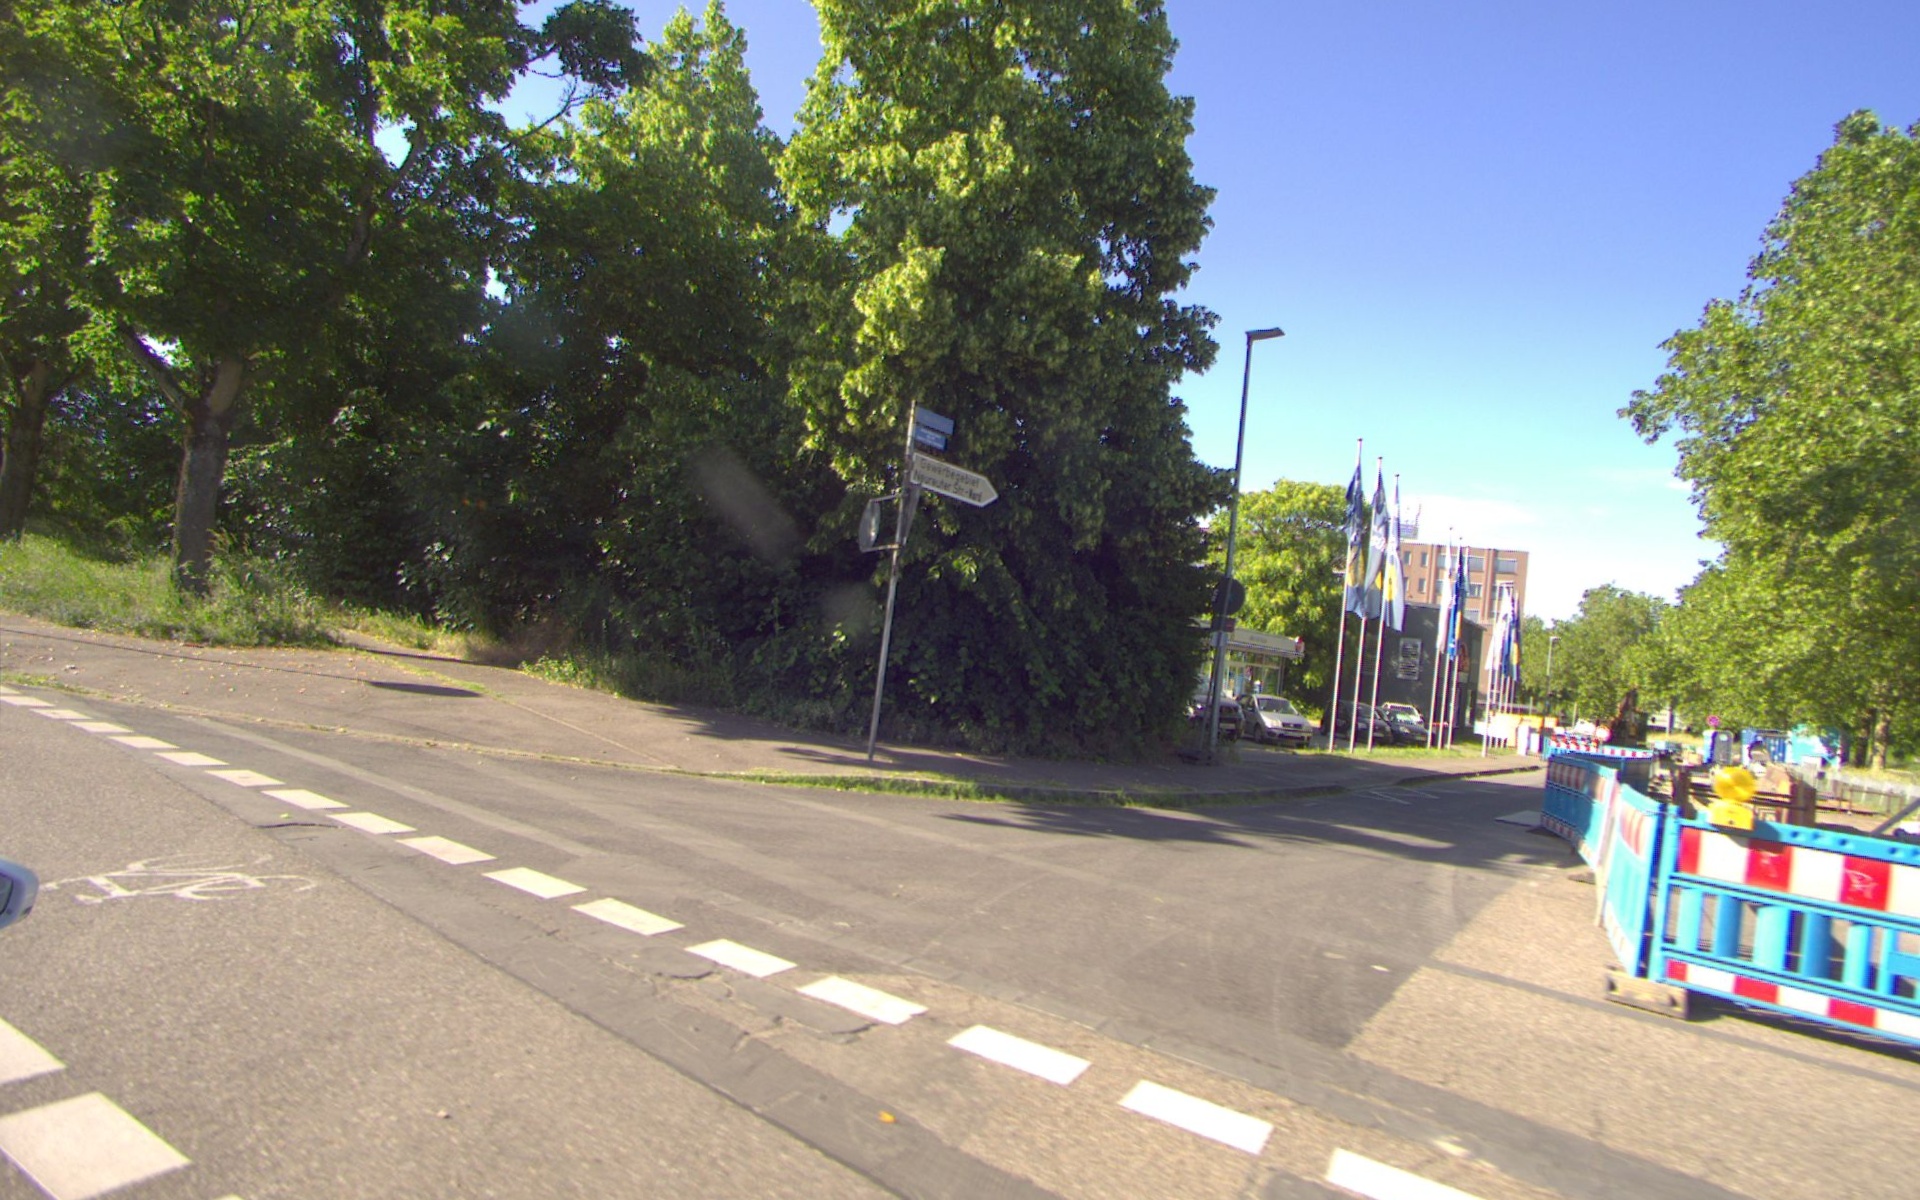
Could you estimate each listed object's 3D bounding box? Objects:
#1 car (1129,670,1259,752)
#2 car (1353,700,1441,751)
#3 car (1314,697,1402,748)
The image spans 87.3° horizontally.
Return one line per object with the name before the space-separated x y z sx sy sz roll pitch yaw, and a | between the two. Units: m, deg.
car | 6.356 2.987 27.713 1.663 1.683 3.760 8 -2 -17
car | 17.912 5.130 41.402 1.567 1.553 3.334 7 -2 -11
car | 15.782 4.831 40.048 1.567 1.525 3.334 7 -2 -11
